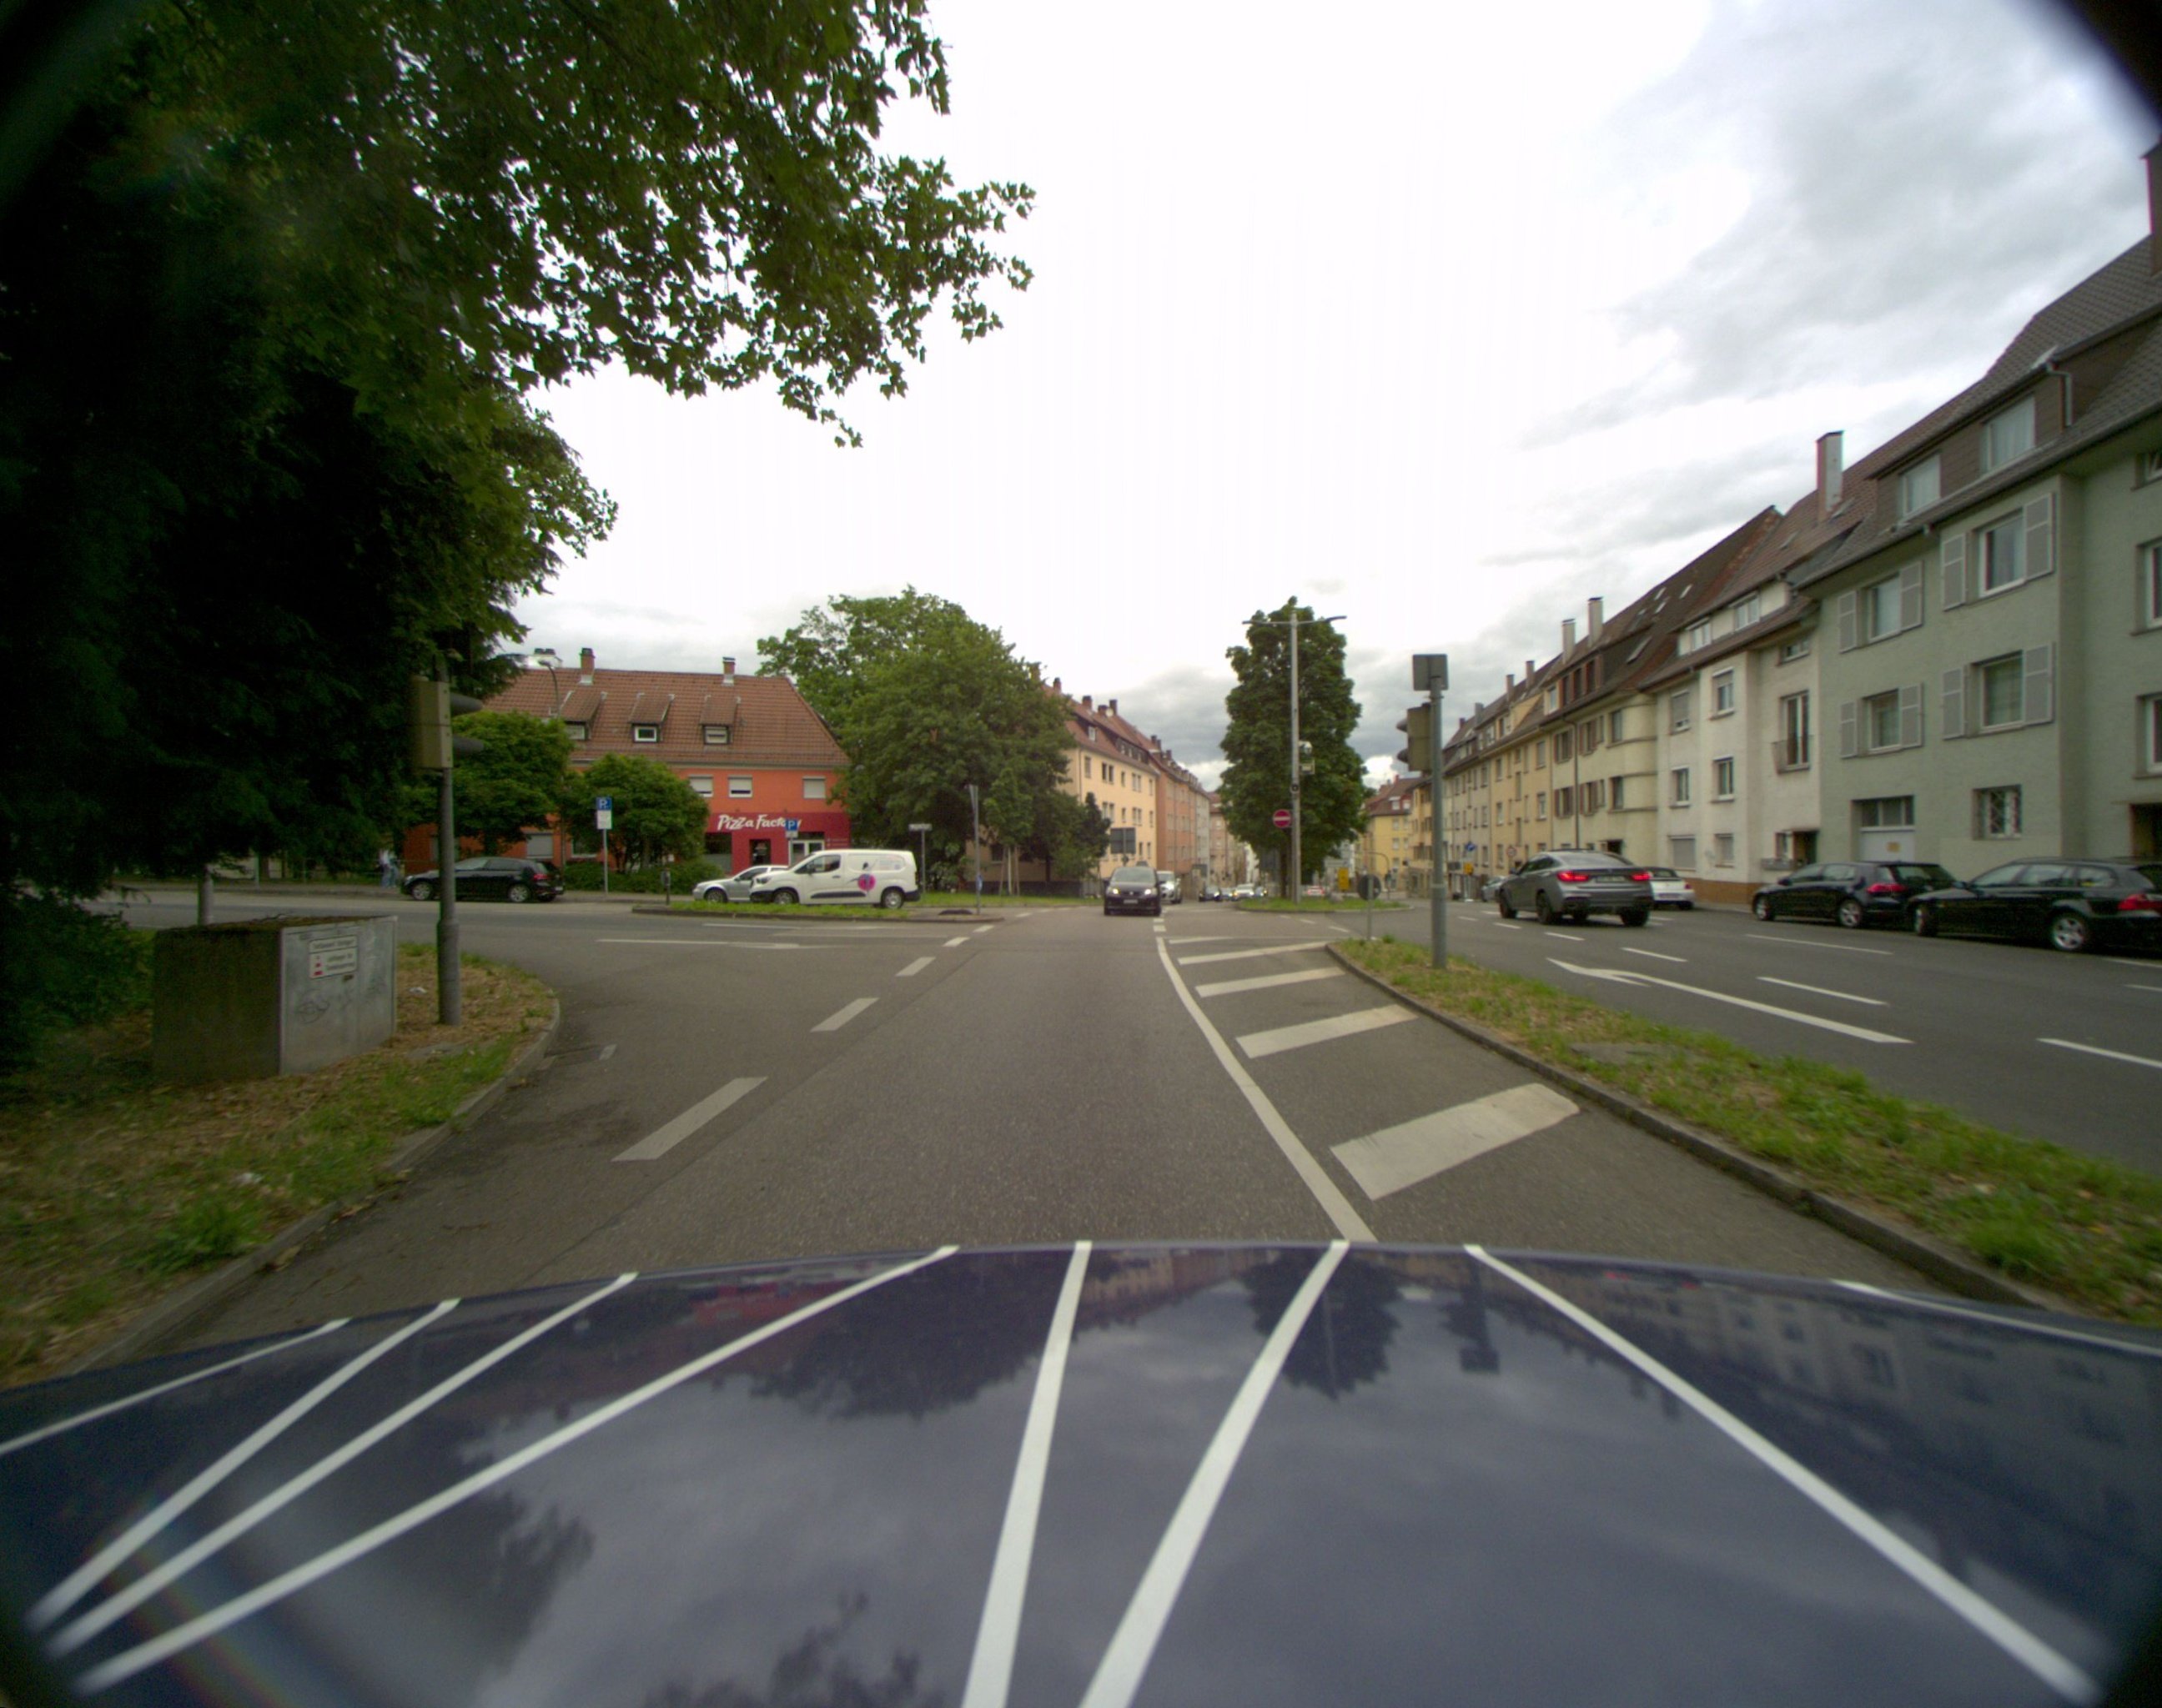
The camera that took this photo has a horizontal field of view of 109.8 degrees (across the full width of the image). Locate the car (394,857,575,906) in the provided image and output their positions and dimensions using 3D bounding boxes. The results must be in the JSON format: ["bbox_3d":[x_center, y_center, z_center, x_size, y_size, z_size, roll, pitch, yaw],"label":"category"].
[{"bbox_3d":[-18.809,0.851,24.145,4.131,1.420,1.736,1,-1,-11],"label":"car"}]

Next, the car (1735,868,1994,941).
[{"bbox_3d":[17.151,1.039,17.016,1.997,1.414,4.217,-1,-2,12],"label":"car"}]

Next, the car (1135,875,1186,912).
[{"bbox_3d":[3.946,1.934,37.085,1.778,1.597,4.170,-4,-4,14],"label":"car"}]

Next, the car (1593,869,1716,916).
[{"bbox_3d":[19.642,1.314,26.280,1.996,1.465,4.165,-1,-2,16],"label":"car"}]

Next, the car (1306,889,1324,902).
[{"bbox_3d":[27.875,4.945,90.639,1.748,1.458,4.593,-1,-3,15],"label":"car"}]

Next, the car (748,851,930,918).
[{"bbox_3d":[-7.074,0.865,22.347,4.851,1.778,1.787,0,-3,-27],"label":"car"}]

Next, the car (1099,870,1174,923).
[{"bbox_3d":[1.769,1.333,23.035,1.602,1.447,3.691,-3,-5,14],"label":"car"}]

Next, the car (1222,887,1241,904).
[{"bbox_3d":[15.744,4.297,79.614,1.782,1.583,3.538,1,0,13],"label":"car"}]

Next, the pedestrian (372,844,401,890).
[{"bbox_3d":[-23.758,0.431,25.995,0.494,1.536,0.676,1,2,-18],"label":"pedestrian"}]

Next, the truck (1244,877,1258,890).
[{"bbox_3d":[40.771,7.056,182.074,2.549,2.889,7.790,0,-2,16],"label":"truck"}]

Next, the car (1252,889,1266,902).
[{"bbox_3d":[24.698,5.783,105.614,1.782,1.583,3.538,1,0,13],"label":"car"}]

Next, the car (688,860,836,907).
[{"bbox_3d":[-10.480,1.006,25.228,4.130,1.419,1.862,1,-3,-7],"label":"car"}]

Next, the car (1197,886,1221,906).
[{"bbox_3d":[11.171,3.606,66.030,1.782,1.583,3.538,1,0,13],"label":"car"}]

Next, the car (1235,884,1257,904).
[{"bbox_3d":[14.357,3.465,66.071,1.782,1.583,3.538,1,0,13],"label":"car"}]

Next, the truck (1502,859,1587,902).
[{"bbox_3d":[22.232,1.298,36.694,1.996,1.908,5.355,-1,-2,14],"label":"truck"}]

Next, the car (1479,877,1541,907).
[{"bbox_3d":[23.803,2.094,42.340,1.996,1.542,4.164,-1,-2,14],"label":"car"}]

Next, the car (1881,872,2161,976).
[{"bbox_3d":[15.759,1.000,12.171,1.996,1.392,4.525,-1,-2,16],"label":"car"}]

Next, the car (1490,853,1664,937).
[{"bbox_3d":[11.449,0.845,17.983,1.872,1.688,4.941,-1,0,13],"label":"car"}]

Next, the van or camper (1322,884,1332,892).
[{"bbox_3d":[52.328,7.249,161.675,1.910,1.750,4.662,-1,-3,16],"label":"van or camper"}]
